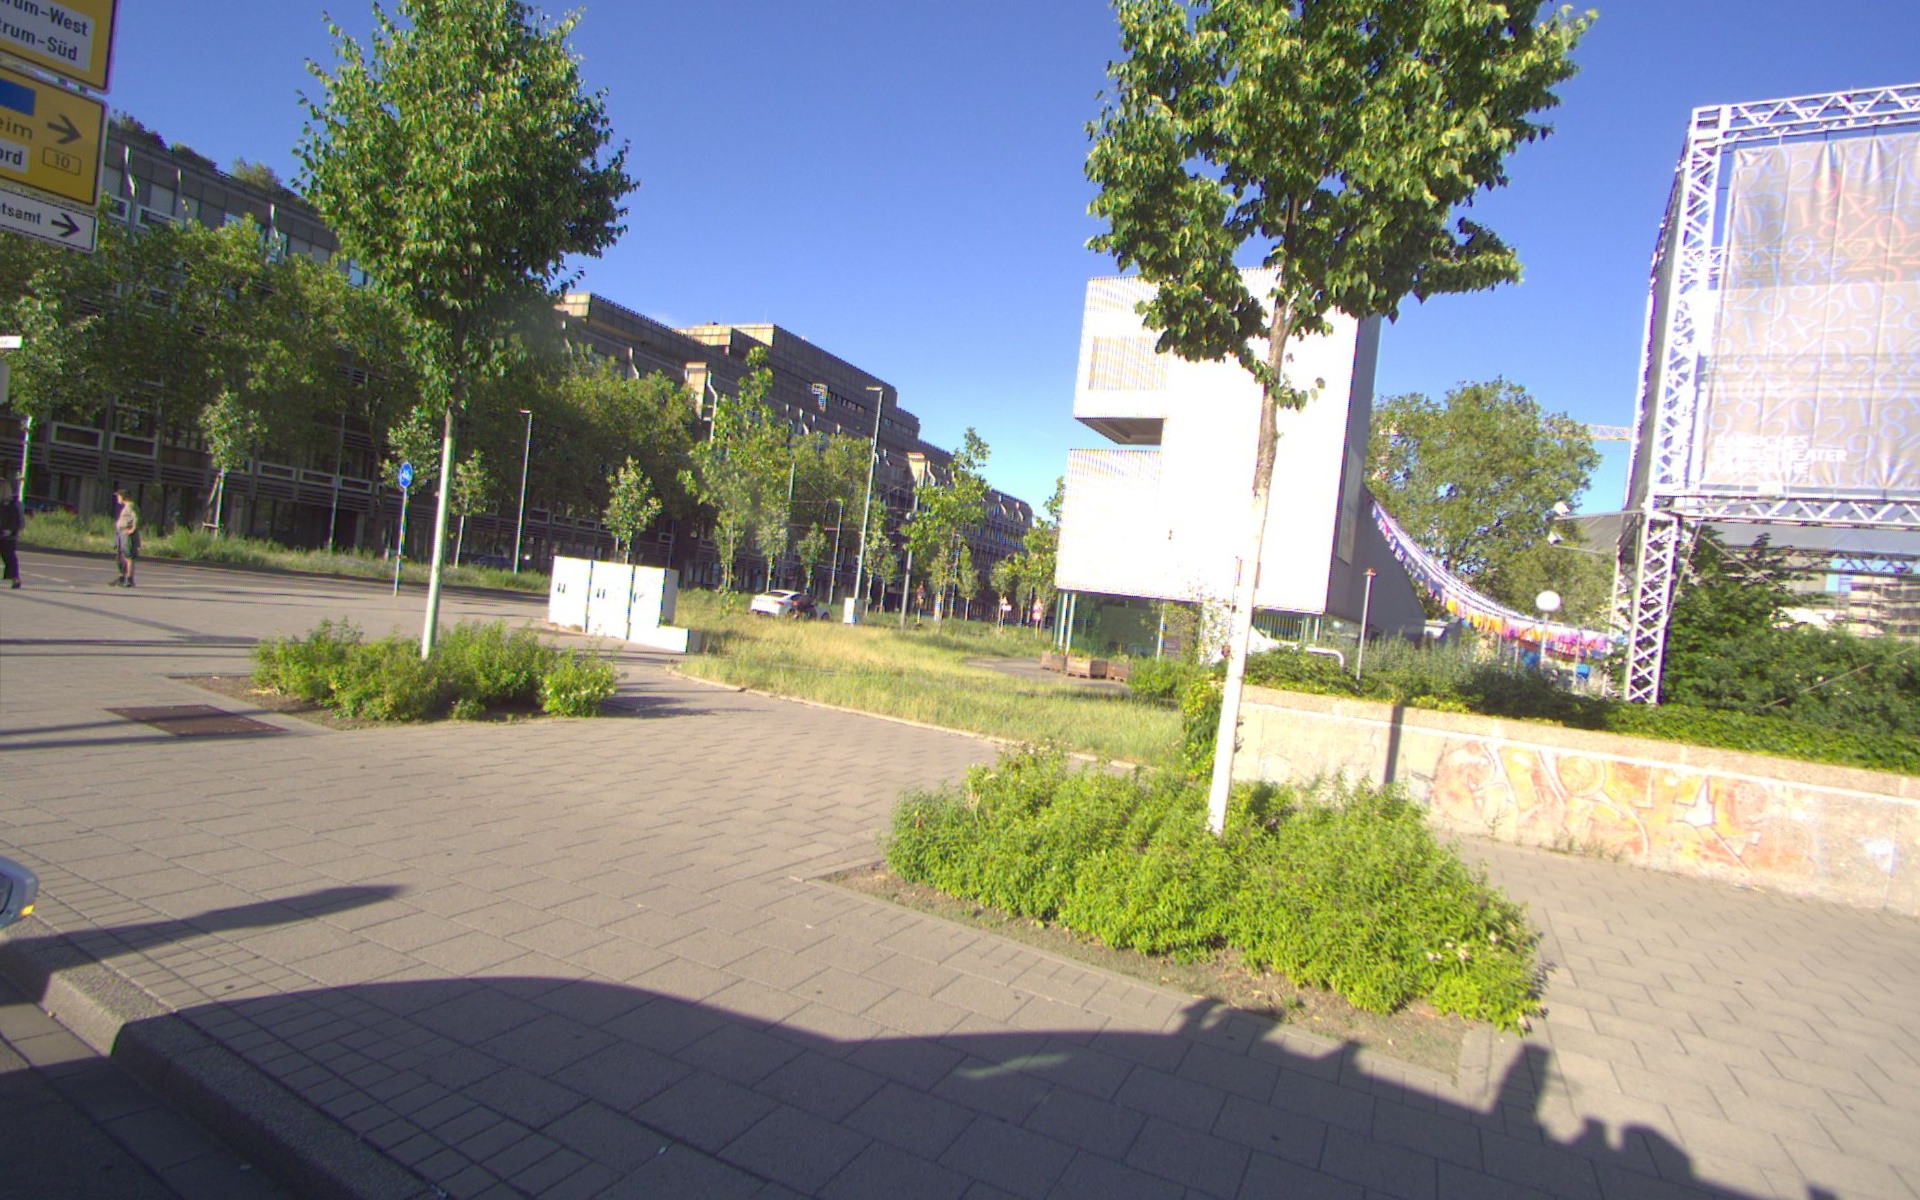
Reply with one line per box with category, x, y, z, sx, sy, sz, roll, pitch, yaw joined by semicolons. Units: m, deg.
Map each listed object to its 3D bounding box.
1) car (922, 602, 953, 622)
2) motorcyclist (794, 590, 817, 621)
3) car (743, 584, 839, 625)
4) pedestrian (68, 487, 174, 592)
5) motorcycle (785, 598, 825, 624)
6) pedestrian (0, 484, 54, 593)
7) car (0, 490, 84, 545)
car;-2.356;1.310;107.263;1.630;1.603;3.912;7;-2;25
motorcyclist;-6.663;0.236;43.485;0.551;1.263;0.727;7;0;26
car;-7.900;0.253;47.461;1.820;1.437;4.956;7;-1;26
pedestrian;-14.952;-1.064;17.948;0.946;1.684;0.882;7;-1;11
motorcycle;-6.693;0.481;43.485;0.551;0.970;2.080;7;0;25
pedestrian;-14.035;-0.918;14.783;0.633;1.510;0.789;6;-1;31
car;-33.268;-2.989;34.913;1.629;1.604;3.896;6;-1;24
